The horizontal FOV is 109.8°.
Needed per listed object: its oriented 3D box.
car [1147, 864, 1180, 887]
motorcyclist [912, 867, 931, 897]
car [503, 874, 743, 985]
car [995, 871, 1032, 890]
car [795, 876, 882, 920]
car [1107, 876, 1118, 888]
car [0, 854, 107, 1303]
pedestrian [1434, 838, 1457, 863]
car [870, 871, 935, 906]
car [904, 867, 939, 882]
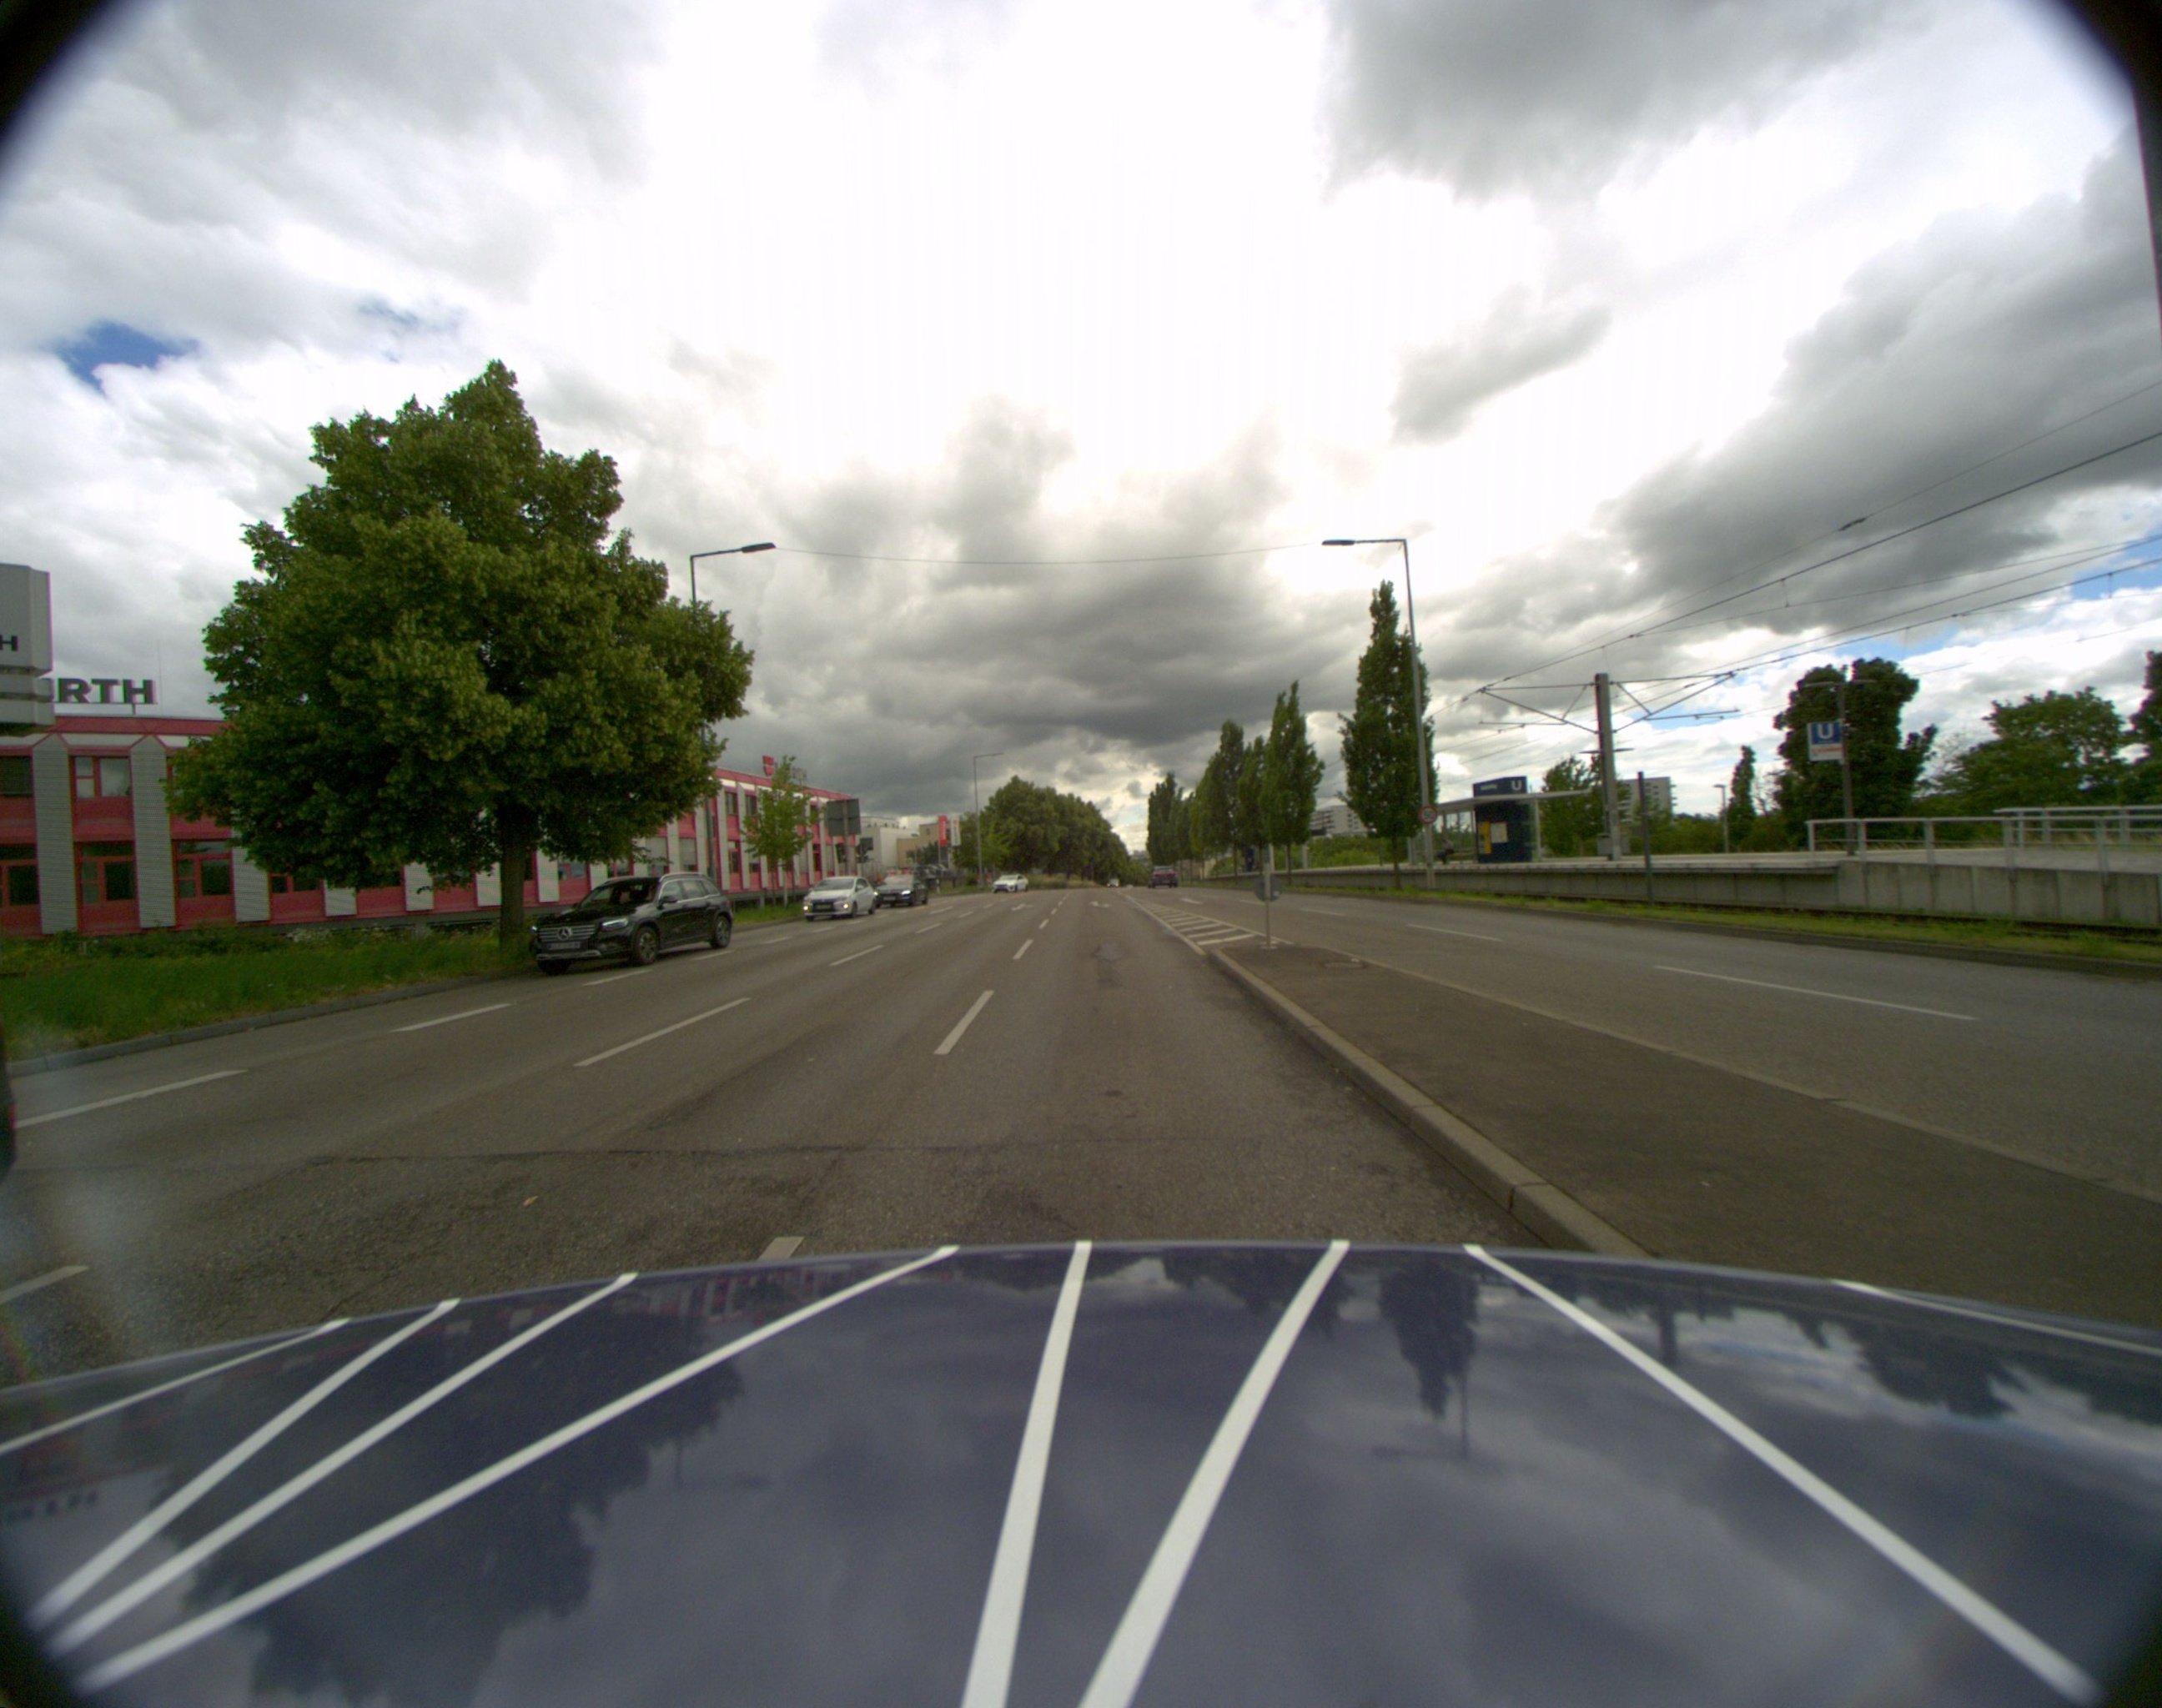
[{"bbox_3d":[6.028,1.528,55.934,1.783,1.537,4.224,-2,0,-2],"label":"car"},{"bbox_3d":[-8.358,1.457,39.797,0.750,1.481,0.933,-4,-1,-3],"label":"motorcyclist"},{"bbox_3d":[-8.562,1.307,14.773,1.785,1.640,4.426,-5,-1,1],"label":"car"},{"bbox_3d":[-5.164,2.061,58.920,1.784,1.353,4.484,-3,-3,9],"label":"car"},{"bbox_3d":[-8.543,1.525,27.127,1.785,1.434,3.836,-1,-2,1],"label":"car"},{"bbox_3d":[5.096,4.518,122.932,1.782,1.744,4.252,-2,0,2],"label":"car"},{"bbox_3d":[-5.409,0.958,0.948,1.999,1.791,4.838,-2,1,2],"label":"car"},{"bbox_3d":[17.629,-0.176,36.728,0.663,1.195,0.782,-2,0,-7],"label":"pedestrian"},{"bbox_3d":[-8.029,1.541,34.606,1.785,1.437,4.530,-1,-2,1],"label":"car"},{"bbox_3d":[-21.203,2.683,101.004,4.248,1.744,1.784,-2,0,2],"label":"car"}]
